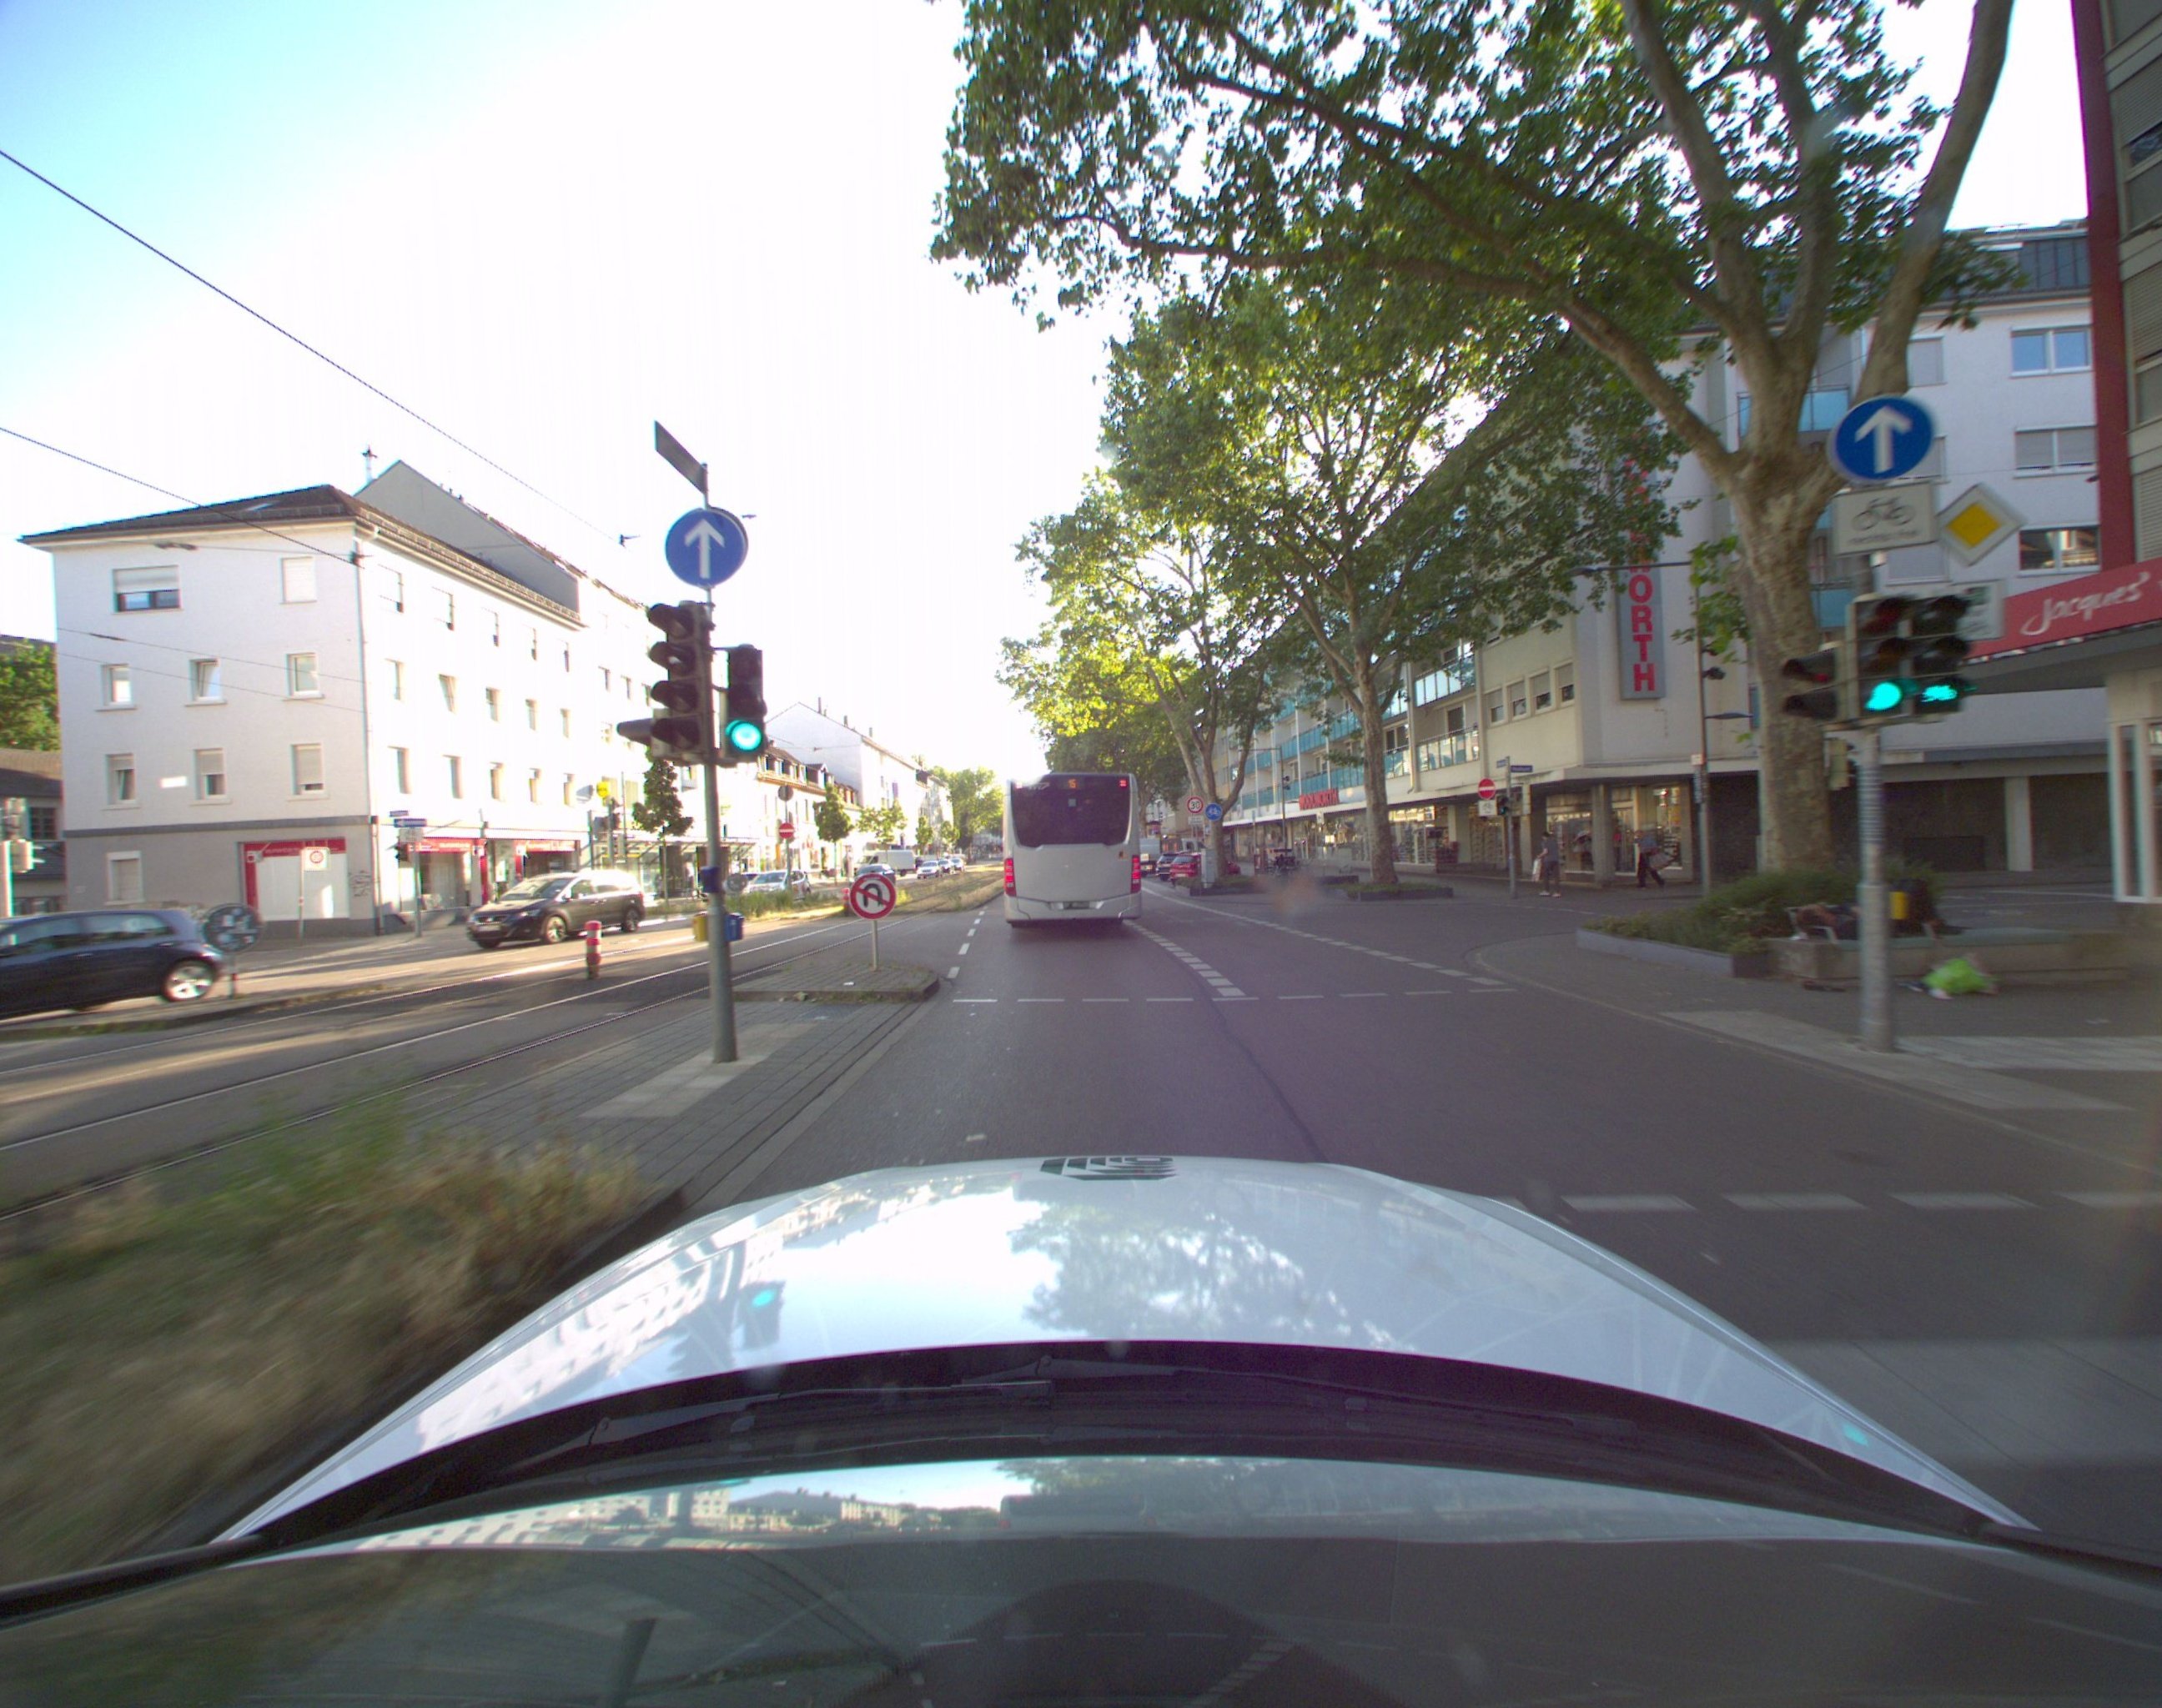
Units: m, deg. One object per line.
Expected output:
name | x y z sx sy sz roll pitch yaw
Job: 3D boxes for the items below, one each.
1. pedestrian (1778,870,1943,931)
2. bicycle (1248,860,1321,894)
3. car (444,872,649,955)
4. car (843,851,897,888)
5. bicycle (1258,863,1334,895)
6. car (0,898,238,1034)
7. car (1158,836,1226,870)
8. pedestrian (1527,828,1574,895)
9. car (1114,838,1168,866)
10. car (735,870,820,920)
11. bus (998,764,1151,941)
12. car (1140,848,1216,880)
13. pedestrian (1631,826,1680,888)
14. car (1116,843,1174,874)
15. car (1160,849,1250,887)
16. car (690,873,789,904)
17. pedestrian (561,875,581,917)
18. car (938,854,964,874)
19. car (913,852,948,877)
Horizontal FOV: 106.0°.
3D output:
pedestrian | 8.187 0.485 8.581 1.249 0.589 0.482 -2 -1 1
bicycle | 7.068 0.783 28.331 2.306 1.028 0.836 -2 1 -5
car | -13.245 1.396 20.594 1.772 1.615 4.515 -5 0 6
car | -12.224 0.867 47.491 1.986 2.013 4.001 -2 0 1
bicycle | 7.163 0.824 27.195 2.306 0.939 0.836 -2 1 -5
car | -13.913 1.502 10.395 1.772 1.450 4.051 -5 1 6
car | 7.095 -0.090 51.868 4.019 1.970 1.977 -2 -1 -37
pedestrian | 13.024 0.207 22.627 0.777 1.794 0.765 -3 -1 3
car | 4.526 -0.183 61.074 1.974 1.970 4.025 -3 -1 42
car | -12.410 1.636 33.571 1.891 1.804 4.001 -2 0 1
bus | -0.224 -0.036 18.061 2.671 3.083 7.108 -1 0 -2
car | 5.274 0.535 44.014 4.023 1.530 1.975 -2 -1 -44
pedestrian | 15.996 0.066 22.706 0.746 1.679 0.834 -2 1 -3
car | 4.503 0.318 56.928 1.974 1.970 4.025 -3 -1 42
car | 5.699 0.610 37.075 4.023 1.530 1.975 -2 -1 -44
car | -18.213 1.816 43.472 4.569 1.412 1.979 -2 -1 -33
pedestrian | -20.902 1.716 33.394 0.423 1.713 0.509 -3 -1 7
car | -13.894 1.027 87.246 1.986 2.013 4.001 -2 0 1
car | -12.588 0.876 68.387 1.986 2.013 4.001 -2 0 1
